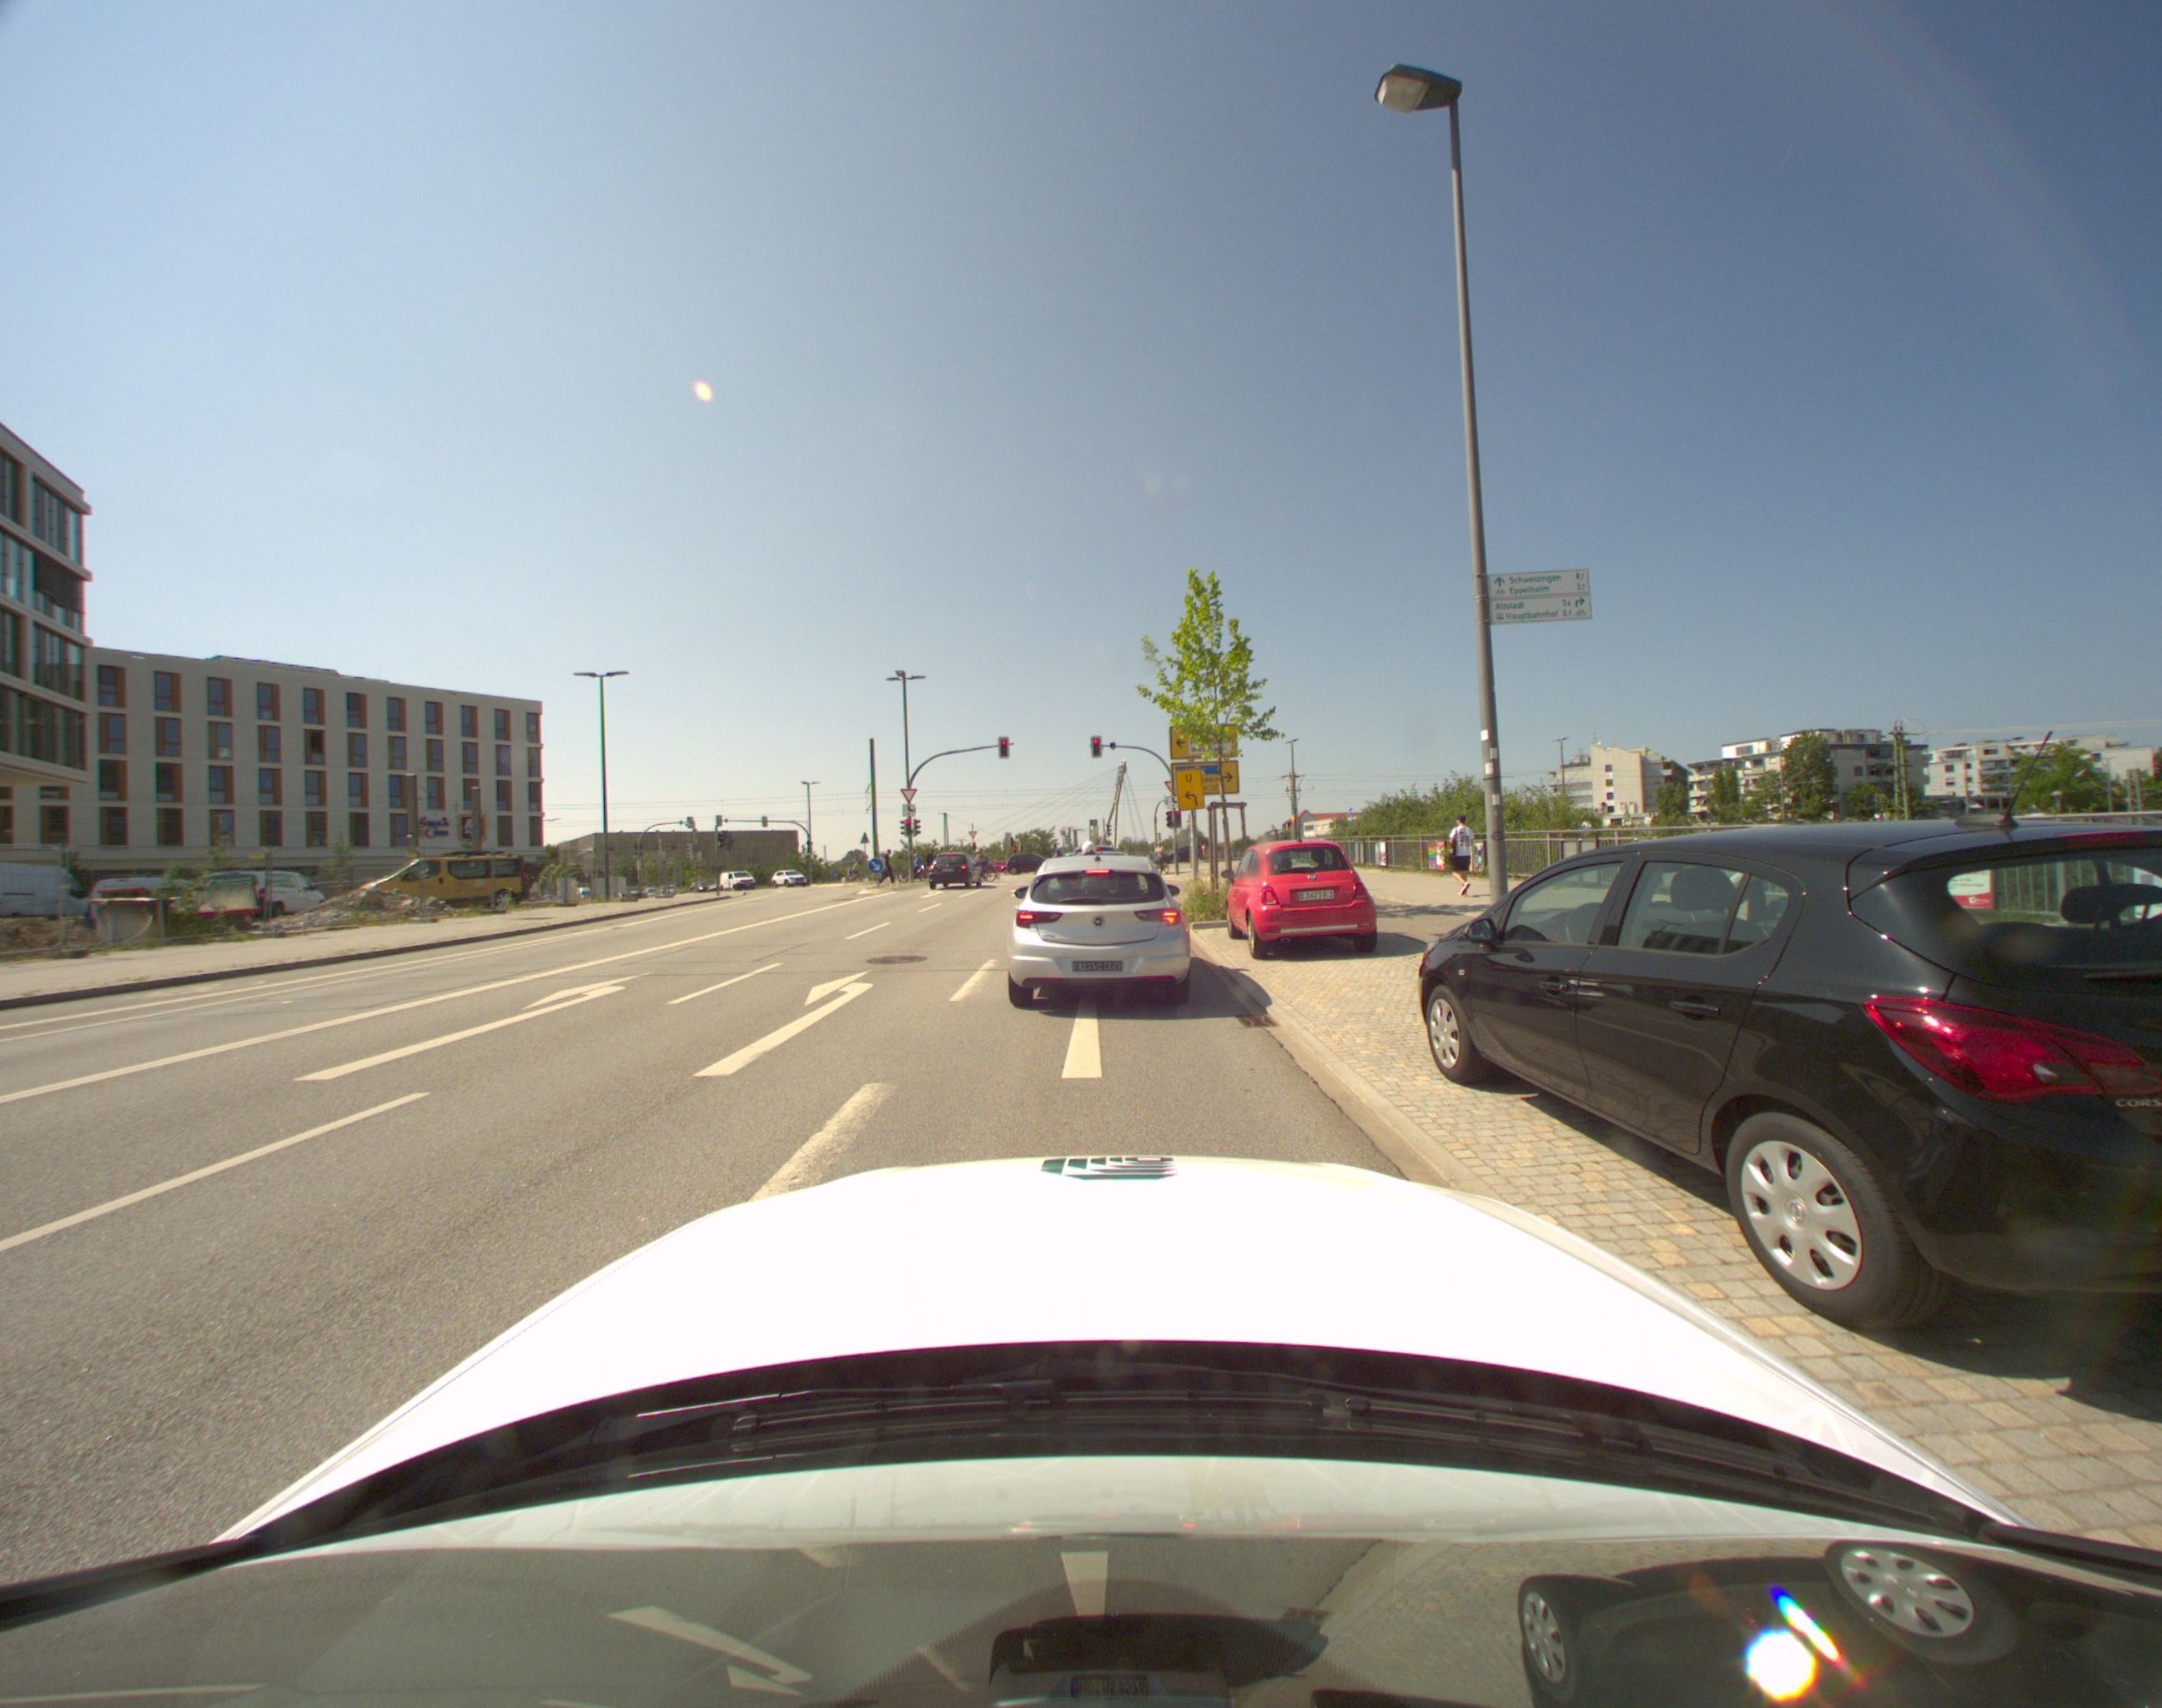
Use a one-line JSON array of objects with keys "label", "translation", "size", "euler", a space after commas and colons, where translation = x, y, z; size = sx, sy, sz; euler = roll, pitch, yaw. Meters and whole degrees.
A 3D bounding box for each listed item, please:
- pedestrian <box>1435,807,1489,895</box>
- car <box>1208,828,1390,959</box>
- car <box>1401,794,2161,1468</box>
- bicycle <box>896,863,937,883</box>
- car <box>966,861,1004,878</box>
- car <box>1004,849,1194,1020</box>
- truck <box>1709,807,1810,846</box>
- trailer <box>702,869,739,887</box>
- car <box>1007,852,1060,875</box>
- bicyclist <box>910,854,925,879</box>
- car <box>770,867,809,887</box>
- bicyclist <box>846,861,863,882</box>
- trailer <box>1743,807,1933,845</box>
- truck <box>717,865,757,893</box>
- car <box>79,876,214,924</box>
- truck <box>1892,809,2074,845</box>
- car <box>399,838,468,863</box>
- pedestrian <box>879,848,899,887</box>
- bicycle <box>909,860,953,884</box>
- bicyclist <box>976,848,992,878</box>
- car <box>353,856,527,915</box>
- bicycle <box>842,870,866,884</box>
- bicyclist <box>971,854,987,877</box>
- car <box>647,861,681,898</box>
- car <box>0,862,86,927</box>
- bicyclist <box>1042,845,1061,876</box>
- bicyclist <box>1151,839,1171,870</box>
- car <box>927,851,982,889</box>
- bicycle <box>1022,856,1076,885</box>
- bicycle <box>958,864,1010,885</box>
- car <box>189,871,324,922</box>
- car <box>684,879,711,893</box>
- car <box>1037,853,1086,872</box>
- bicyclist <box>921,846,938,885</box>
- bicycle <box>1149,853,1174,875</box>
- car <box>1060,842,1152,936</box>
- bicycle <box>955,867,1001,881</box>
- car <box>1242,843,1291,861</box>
[{"label": "pedestrian", "translation": [8.171, -0.055, 17.489], "size": [0.755, 1.830, 0.885], "euler": [0, -1, 1]}, {"label": "car", "translation": [3.025, 0.483, 12.125], "size": [1.663, 1.539, 3.918], "euler": [-4, 0, 1]}, {"label": "car", "translation": [2.958, 0.622, 3.721], "size": [1.576, 1.555, 3.548], "euler": [-4, 0, 1]}, {"label": "bicycle", "translation": [-9.991, 1.144, 49.535], "size": [2.309, 1.133, 0.637], "euler": [-1, -1, 2]}, {"label": "car", "translation": [-9.319, 1.504, 78.944], "size": [3.364, 1.655, 1.649], "euler": [0, -1, 4]}, {"label": "car", "translation": [0.215, 0.728, 9.501], "size": [1.684, 1.520, 4.272], "euler": [-1, 0, 1]}, {"label": "truck", "translation": [59.208, -2.383, 71.138], "size": [6.478, 3.204, 3.722], "euler": [0, -1, -14]}, {"label": "trailer", "translation": [-36.036, 2.395, 81.415], "size": [2.011, 1.776, 4.233], "euler": [0, -1, -45]}, {"label": "car", "translation": [-3.620, 0.715, 62.155], "size": [3.728, 1.583, 1.817], "euler": [-2, -1, 6]}, {"label": "bicyclist", "translation": [-9.960, 0.741, 49.558], "size": [0.716, 1.504, 0.825], "euler": [-1, -1, 2]}, {"label": "car", "translation": [-27.664, 2.152, 77.198], "size": [3.995, 1.815, 1.943], "euler": [-1, -1, 44]}, {"label": "bicyclist", "translation": [-17.419, 1.313, 62.605], "size": [0.764, 1.610, 0.954], "euler": [-1, -1, 25]}, {"label": "trailer", "translation": [68.236, -2.416, 73.398], "size": [17.225, 3.204, 3.724], "euler": [0, -1, -14]}, {"label": "truck", "translation": [-33.047, 2.363, 78.178], "size": [2.012, 2.540, 4.650], "euler": [0, -1, -44]}, {"label": "car", "translation": [-33.522, 1.587, 29.374], "size": [1.809, 1.508, 3.965], "euler": [0, -1, -27]}, {"label": "truck", "translation": [86.762, -2.470, 78.289], "size": [17.856, 3.204, 3.724], "euler": [0, -1, -14]}, {"label": "car", "translation": [-54.039, -0.292, 68.067], "size": [3.990, 2.014, 1.992], "euler": [0, -1, -12]}, {"label": "pedestrian", "translation": [-9.274, 0.669, 39.356], "size": [0.738, 1.863, 0.753], "euler": [0, -1, 0]}, {"label": "bicycle", "translation": [-7.414, 0.882, 40.184], "size": [2.066, 1.178, 0.557], "euler": [0, -1, 13]}, {"label": "bicyclist", "translation": [-4.828, 0.440, 40.674], "size": [0.654, 1.502, 0.844], "euler": [0, -1, 3]}, {"label": "car", "translation": [-22.450, 1.032, 28.680], "size": [1.974, 1.890, 4.514], "euler": [-1, -1, 40]}, {"label": "bicycle", "translation": [-17.440, 1.768, 62.555], "size": [1.849, 1.068, 0.581], "euler": [-1, -1, 24]}, {"label": "bicyclist", "translation": [-5.205, 0.581, 41.496], "size": [0.654, 1.175, 0.731], "euler": [0, -1, 3]}, {"label": "car", "translation": [-24.033, 1.425, 47.004], "size": [1.679, 2.014, 3.965], "euler": [0, -1, -26]}, {"label": "car", "translation": [-36.120, 1.307, 27.185], "size": [2.220, 2.056, 4.133], "euler": [0, -1, -28]}, {"label": "bicyclist", "translation": [-1.474, 0.330, 40.630], "size": [0.818, 1.560, 0.864], "euler": [0, -1, 5]}, {"label": "bicyclist", "translation": [4.189, 0.024, 42.550], "size": [0.813, 1.569, 0.953], "euler": [-1, -1, 22]}, {"label": "car", "translation": [-5.077, 0.628, 33.007], "size": [1.581, 1.395, 3.340], "euler": [-2, -1, 1]}, {"label": "bicycle", "translation": [-1.572, 0.809, 40.633], "size": [2.513, 1.133, 0.729], "euler": [-6, 2, 4]}, {"label": "bicycle", "translation": [-4.836, 1.027, 40.661], "size": [2.494, 1.007, 0.605], "euler": [-1, 0, 2]}, {"label": "car", "translation": [-30.954, 1.515, 30.779], "size": [2.004, 1.707, 4.524], "euler": [0, -1, -24]}, {"label": "car", "translation": [-40.637, 3.393, 86.340], "size": [1.675, 1.389, 3.742], "euler": [0, -1, -41]}, {"label": "car", "translation": [-1.535, 0.676, 65.017], "size": [3.778, 1.362, 1.532], "euler": [-2, 0, 0]}, {"label": "bicyclist", "translation": [-7.464, 0.557, 40.183], "size": [0.589, 1.887, 0.639], "euler": [-1, -1, 14]}, {"label": "bicycle", "translation": [4.224, 0.503, 42.615], "size": [0.669, 1.127, 2.378], "euler": [-1, -1, 23]}, {"label": "car", "translation": [0.483, 0.639, 16.314], "size": [1.629, 1.674, 3.746], "euler": [0, -1, 1]}, {"label": "bicycle", "translation": [-5.252, 1.019, 41.493], "size": [2.237, 0.692, 0.516], "euler": [-1, 0, 2]}, {"label": "car", "translation": [17.991, -0.235, 78.983], "size": [4.254, 1.673, 1.989], "euler": [-1, 0, -16]}]
